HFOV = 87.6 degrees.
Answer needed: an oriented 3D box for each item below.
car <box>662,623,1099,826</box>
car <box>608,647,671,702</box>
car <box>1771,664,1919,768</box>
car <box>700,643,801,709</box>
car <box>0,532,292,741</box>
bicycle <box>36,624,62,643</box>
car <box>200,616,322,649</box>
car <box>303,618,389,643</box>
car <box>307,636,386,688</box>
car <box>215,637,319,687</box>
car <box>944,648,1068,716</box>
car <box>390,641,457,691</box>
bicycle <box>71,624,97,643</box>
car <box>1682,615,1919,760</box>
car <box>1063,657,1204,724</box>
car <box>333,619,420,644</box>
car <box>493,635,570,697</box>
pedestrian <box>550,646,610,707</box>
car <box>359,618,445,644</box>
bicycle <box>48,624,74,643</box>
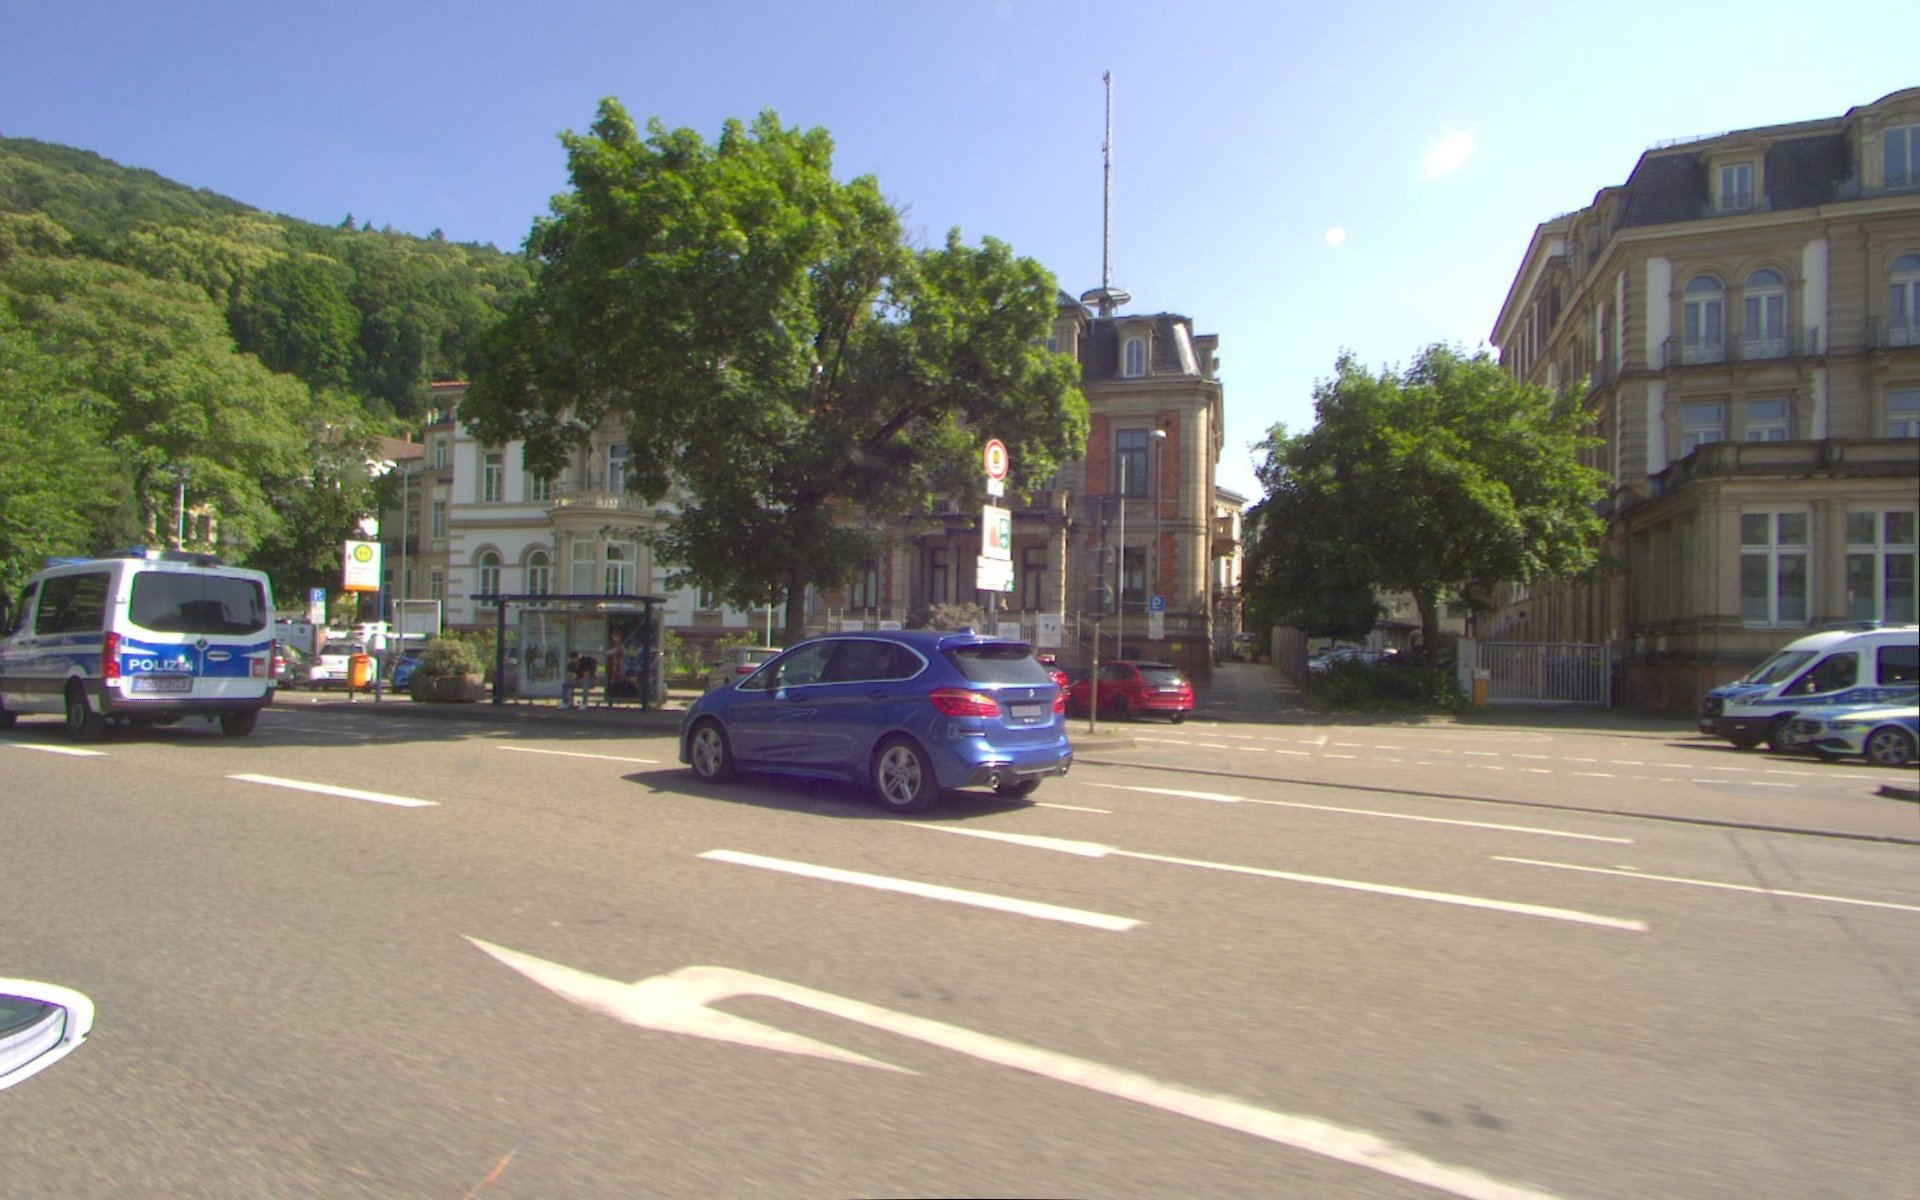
[{"bbox_3d":[-0.915,1.050,9.779,4.220,1.560,1.713,-1,-4,39],"label":"car"},{"bbox_3d":[-9.214,2.117,28.743,1.185,1.501,2.276,3,-3,-31],"label":"car"},{"bbox_3d":[16.998,1.980,16.909,4.789,1.646,1.822,1,-2,14],"label":"car"},{"bbox_3d":[-5.858,2.031,27.610,1.688,1.650,4.300,2,-3,-26],"label":"car"},{"bbox_3d":[-11.930,0.529,14.394,4.860,2.540,2.070,-1,-3,33],"label":"car"},{"bbox_3d":[-54.926,2.009,60.351,1.805,1.099,0.537,0,-1,26],"label":"bicycle"},{"bbox_3d":[-30.981,1.466,44.536,1.957,1.353,4.046,0,-2,22],"label":"car"},{"bbox_3d":[-35.951,1.802,58.741,1.790,1.353,4.046,0,-2,22],"label":"car"},{"bbox_3d":[-19.495,1.949,31.940,1.687,1.530,3.798,2,-3,-25],"label":"car"},{"bbox_3d":[-22.086,1.946,32.080,1.798,1.479,4.097,2,-3,-22],"label":"car"},{"bbox_3d":[1.094,2.061,25.825,1.721,1.594,3.868,2,-3,-22],"label":"car"},{"bbox_3d":[-16.630,2.017,31.093,1.689,1.460,3.795,3,-3,-28],"label":"car"},{"bbox_3d":[-54.296,2.075,62.058,1.805,1.099,0.537,0,-1,26],"label":"bicycle"},{"bbox_3d":[17.550,1.679,19.549,5.220,2.636,1.999,1,-2,15],"label":"car"},{"bbox_3d":[4.138,2.161,24.467,1.721,1.436,3.691,2,-3,-22],"label":"car"},{"bbox_3d":[-33.708,1.853,57.952,1.790,1.353,4.081,0,-2,22],"label":"car"},{"bbox_3d":[-12.832,1.917,29.847,1.689,1.717,4.255,2,-3,-28],"label":"car"},{"bbox_3d":[-7.883,1.577,20.798,0.776,1.213,1.022,1,-2,4],"label":"pedestrian"},{"bbox_3d":[-31.679,1.788,56.956,1.790,1.437,4.055,0,-2,22],"label":"car"},{"bbox_3d":[-54.704,2.031,60.903,1.805,1.099,0.537,0,-1,26],"label":"bicycle"}]
